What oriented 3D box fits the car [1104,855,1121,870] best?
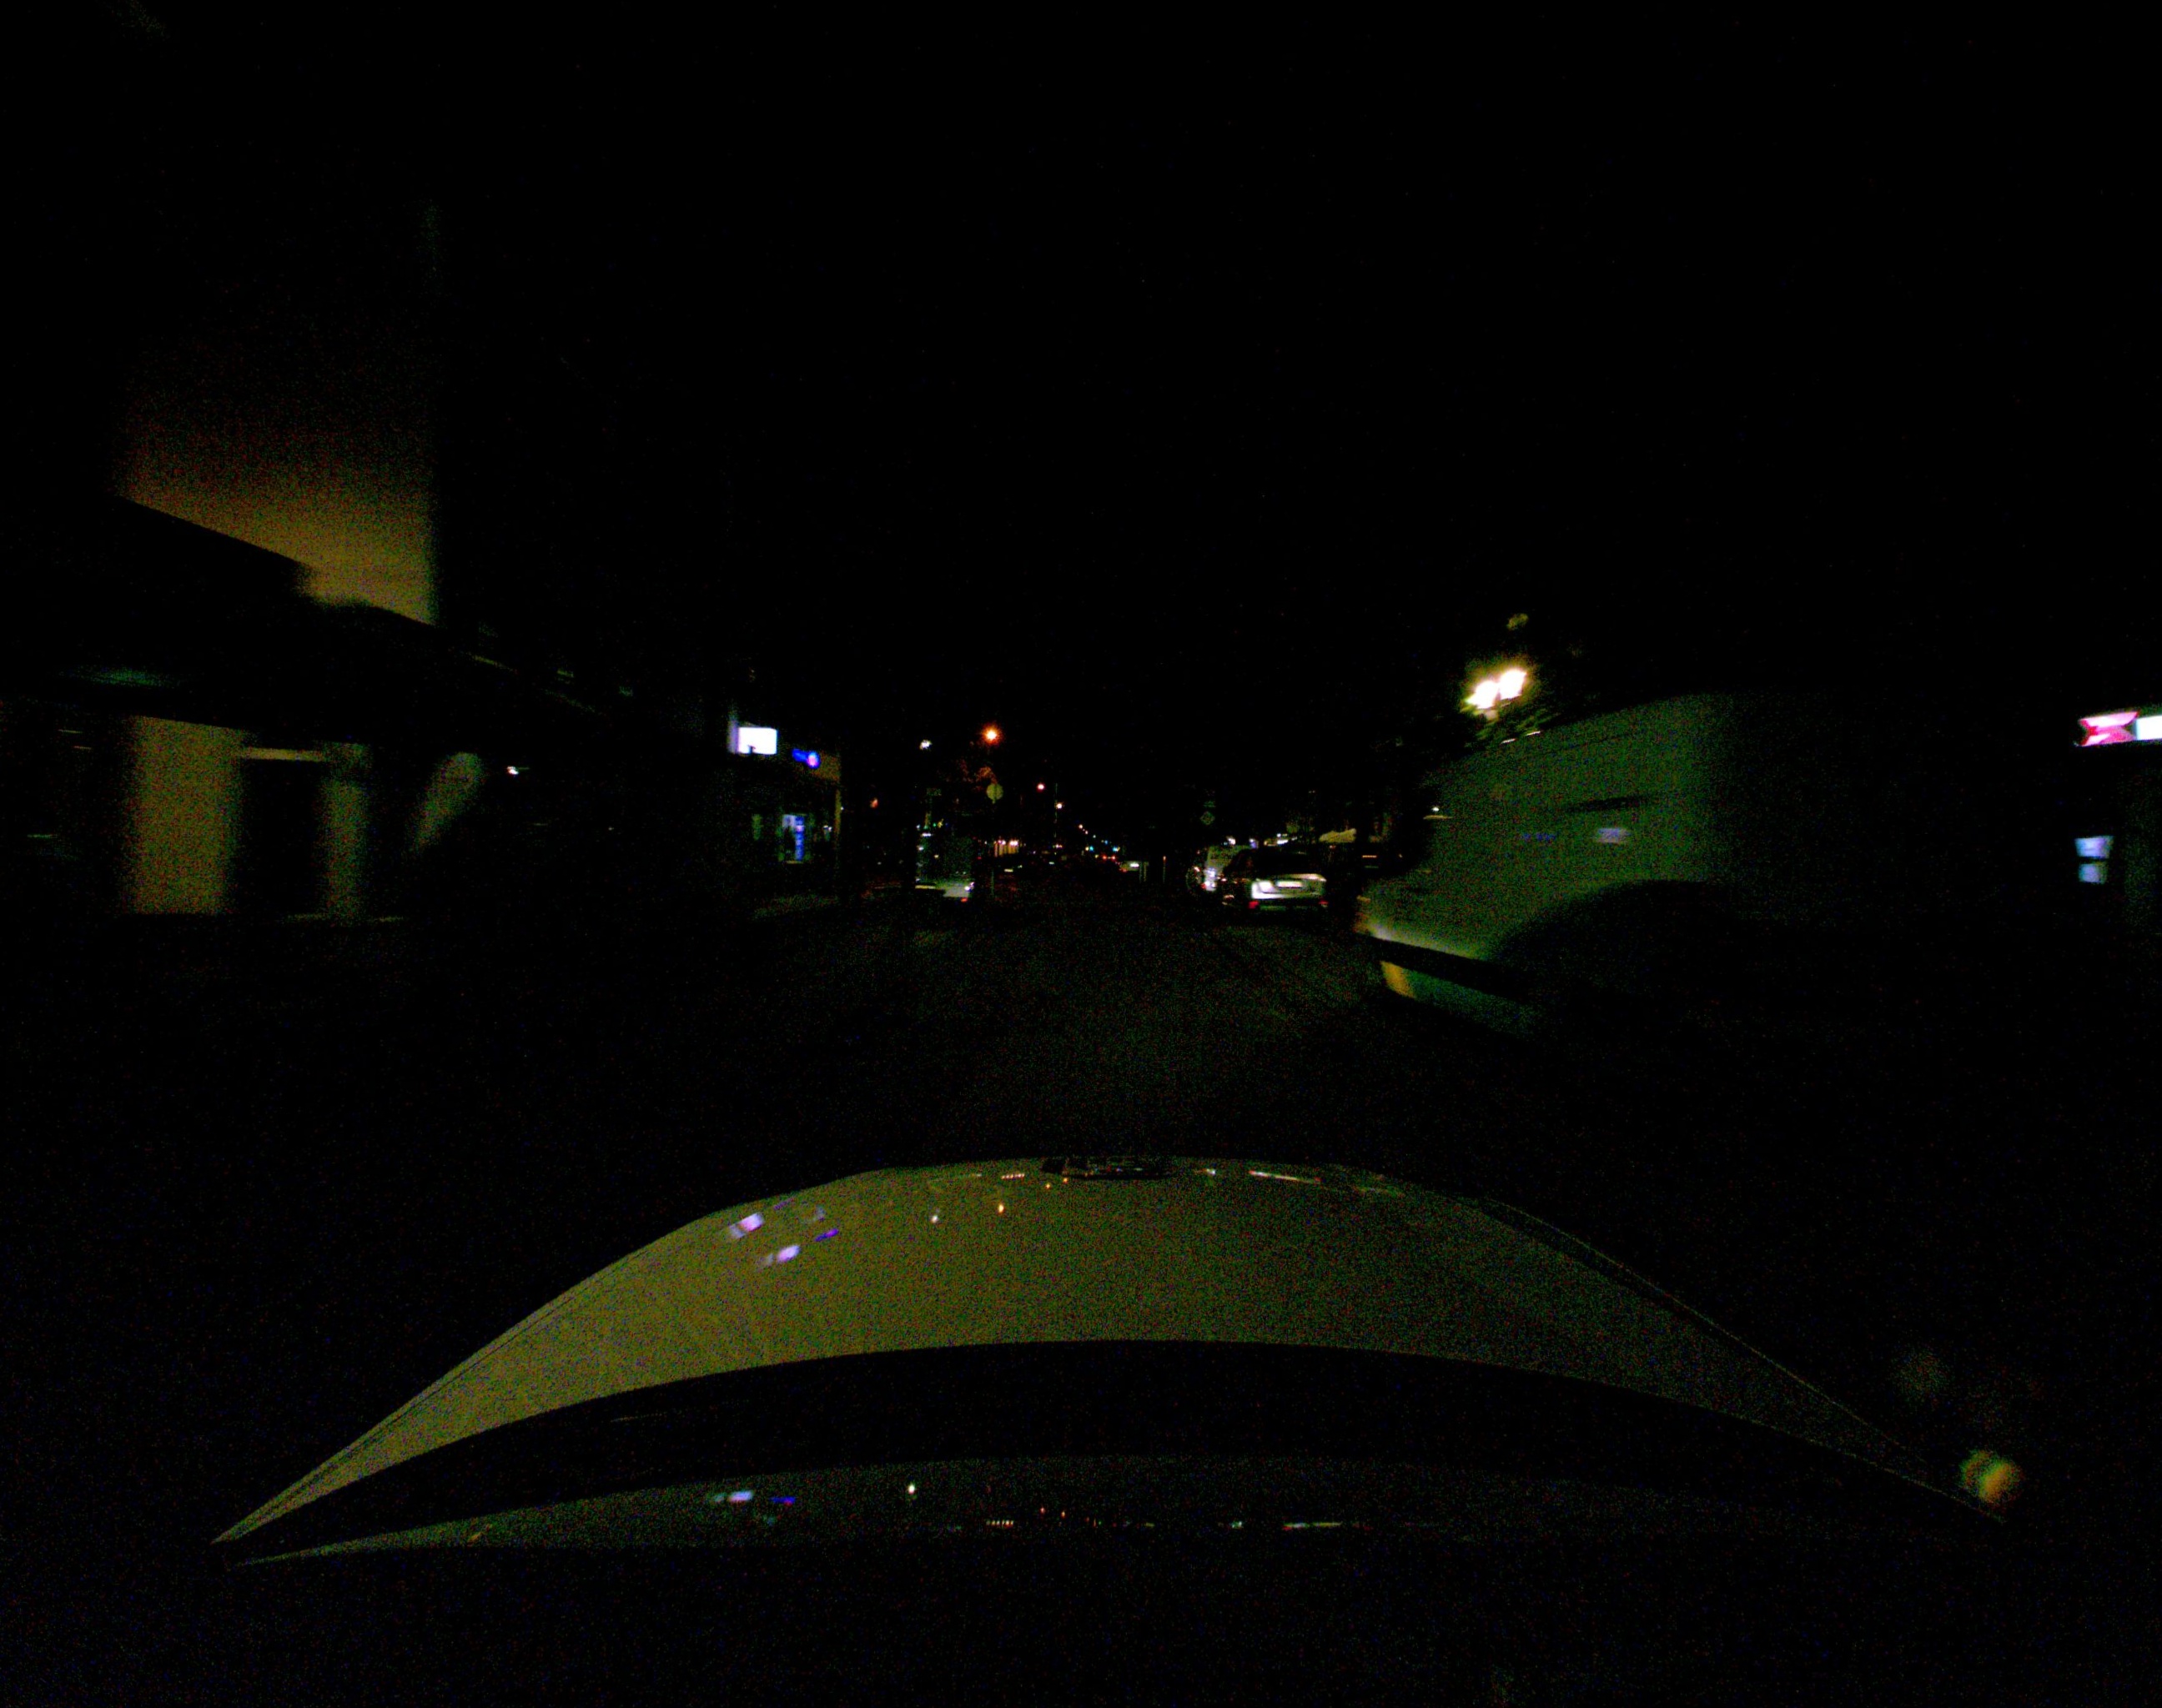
[{"bbox_3d":[3.330,0.855,85.105,1.757,1.414,4.811,1,0,2],"label":"car"}]

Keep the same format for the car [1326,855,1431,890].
[{"bbox_3d":[13.910,0.882,38.201,4.301,1.532,1.803,1,-1,0],"label":"car"}]

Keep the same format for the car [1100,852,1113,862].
[{"bbox_3d":[4.109,0.449,131.730,1.986,1.643,4.001,0,0,1],"label":"car"}]

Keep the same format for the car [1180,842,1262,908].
[{"bbox_3d":[4.186,0.569,24.992,1.783,1.822,4.580,1,0,1],"label":"car"}]

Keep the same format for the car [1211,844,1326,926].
[{"bbox_3d":[4.211,0.634,18.988,1.679,1.659,4.296,1,0,0],"label":"car"}]

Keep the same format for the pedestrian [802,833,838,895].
[{"bbox_3d":[-7.366,0.271,22.974,0.666,1.719,0.909,1,0,2],"label":"pedestrian"}]

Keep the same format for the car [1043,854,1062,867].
[{"bbox_3d":[-3.163,0.692,91.094,1.734,1.413,4.498,2,0,2],"label":"car"}]

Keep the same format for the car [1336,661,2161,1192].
[{"bbox_3d":[3.780,0.313,6.196,2.127,2.326,5.152,1,0,1],"label":"car"}]

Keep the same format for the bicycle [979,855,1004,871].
[{"bbox_3d":[-6.962,0.687,63.565,1.844,1.254,0.533,1,0,1],"label":"bicycle"}]

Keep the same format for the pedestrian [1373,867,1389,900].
[{"bbox_3d":[10.740,1.055,29.151,0.385,1.168,0.522,1,0,37],"label":"pedestrian"}]

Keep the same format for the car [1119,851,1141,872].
[{"bbox_3d":[3.954,0.592,66.165,1.683,1.537,4.018,2,0,2],"label":"car"}]

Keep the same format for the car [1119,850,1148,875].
[{"bbox_3d":[3.357,0.524,52.572,1.763,1.537,4.219,-1,0,2],"label":"car"}]

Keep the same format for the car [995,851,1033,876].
[{"bbox_3d":[-4.317,0.598,52.918,1.800,1.425,4.923,3,0,2],"label":"car"}]

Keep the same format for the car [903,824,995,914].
[{"bbox_3d":[-3.471,0.357,22.353,1.849,2.087,5.084,3,0,-3],"label":"car"}]

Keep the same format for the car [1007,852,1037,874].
[{"bbox_3d":[-4.255,0.621,59.088,1.715,1.428,3.978,3,0,2],"label":"car"}]

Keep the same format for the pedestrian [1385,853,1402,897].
[{"bbox_3d":[11.566,0.780,30.150,0.476,1.587,0.374,1,0,37],"label":"pedestrian"}]

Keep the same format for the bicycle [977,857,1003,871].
[{"bbox_3d":[-7.011,0.760,62.883,1.844,1.035,0.533,3,0,1],"label":"bicycle"}]
